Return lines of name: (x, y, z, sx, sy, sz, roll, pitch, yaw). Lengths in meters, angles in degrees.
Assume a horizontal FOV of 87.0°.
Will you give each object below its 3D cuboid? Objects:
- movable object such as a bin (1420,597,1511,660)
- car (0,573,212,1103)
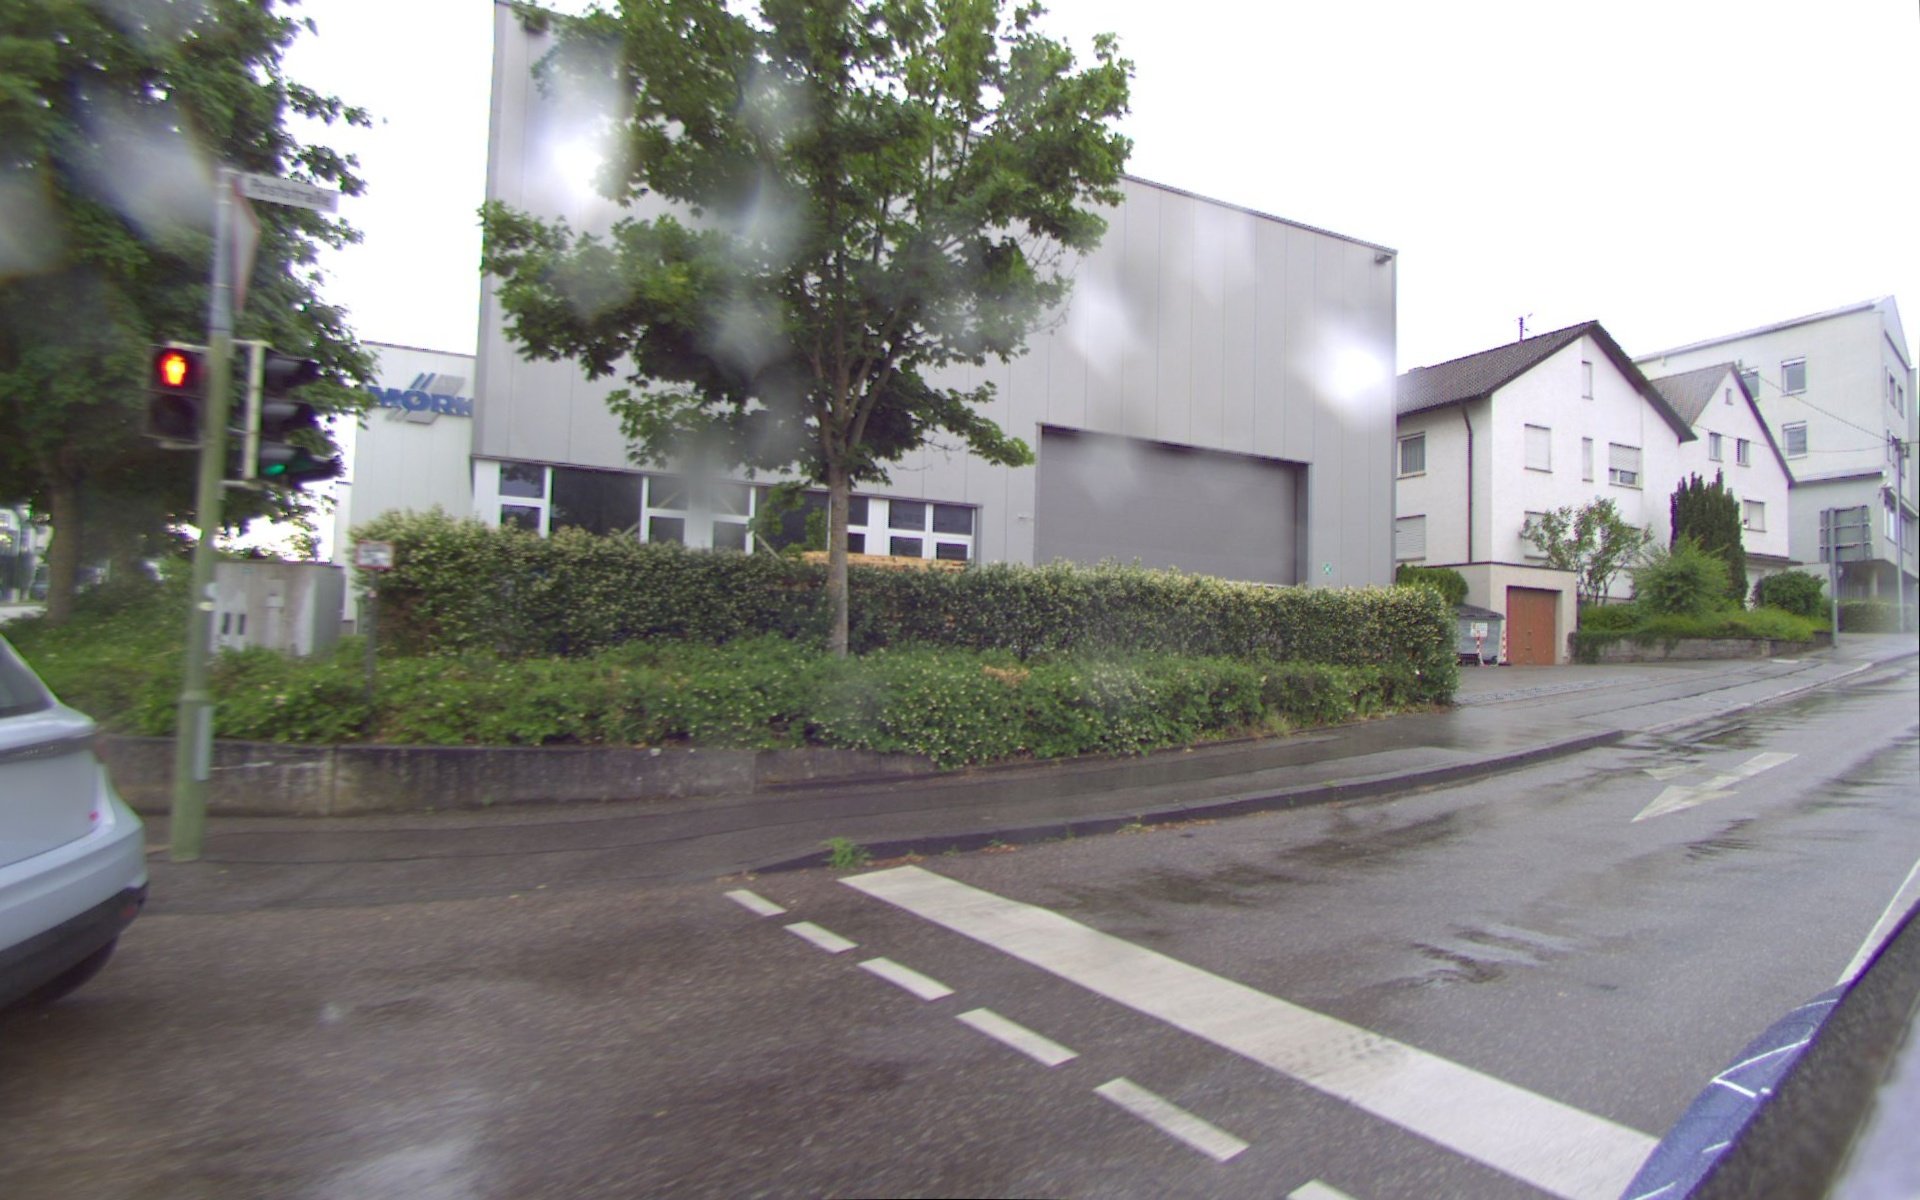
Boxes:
movable object such as a bin: (13.062, 0.730, 26.191, 1.556, 1.555, 1.451, 1, -1, -25)
car: (-4.788, 0.677, 2.936, 3.825, 1.574, 1.697, 1, -1, -13)
